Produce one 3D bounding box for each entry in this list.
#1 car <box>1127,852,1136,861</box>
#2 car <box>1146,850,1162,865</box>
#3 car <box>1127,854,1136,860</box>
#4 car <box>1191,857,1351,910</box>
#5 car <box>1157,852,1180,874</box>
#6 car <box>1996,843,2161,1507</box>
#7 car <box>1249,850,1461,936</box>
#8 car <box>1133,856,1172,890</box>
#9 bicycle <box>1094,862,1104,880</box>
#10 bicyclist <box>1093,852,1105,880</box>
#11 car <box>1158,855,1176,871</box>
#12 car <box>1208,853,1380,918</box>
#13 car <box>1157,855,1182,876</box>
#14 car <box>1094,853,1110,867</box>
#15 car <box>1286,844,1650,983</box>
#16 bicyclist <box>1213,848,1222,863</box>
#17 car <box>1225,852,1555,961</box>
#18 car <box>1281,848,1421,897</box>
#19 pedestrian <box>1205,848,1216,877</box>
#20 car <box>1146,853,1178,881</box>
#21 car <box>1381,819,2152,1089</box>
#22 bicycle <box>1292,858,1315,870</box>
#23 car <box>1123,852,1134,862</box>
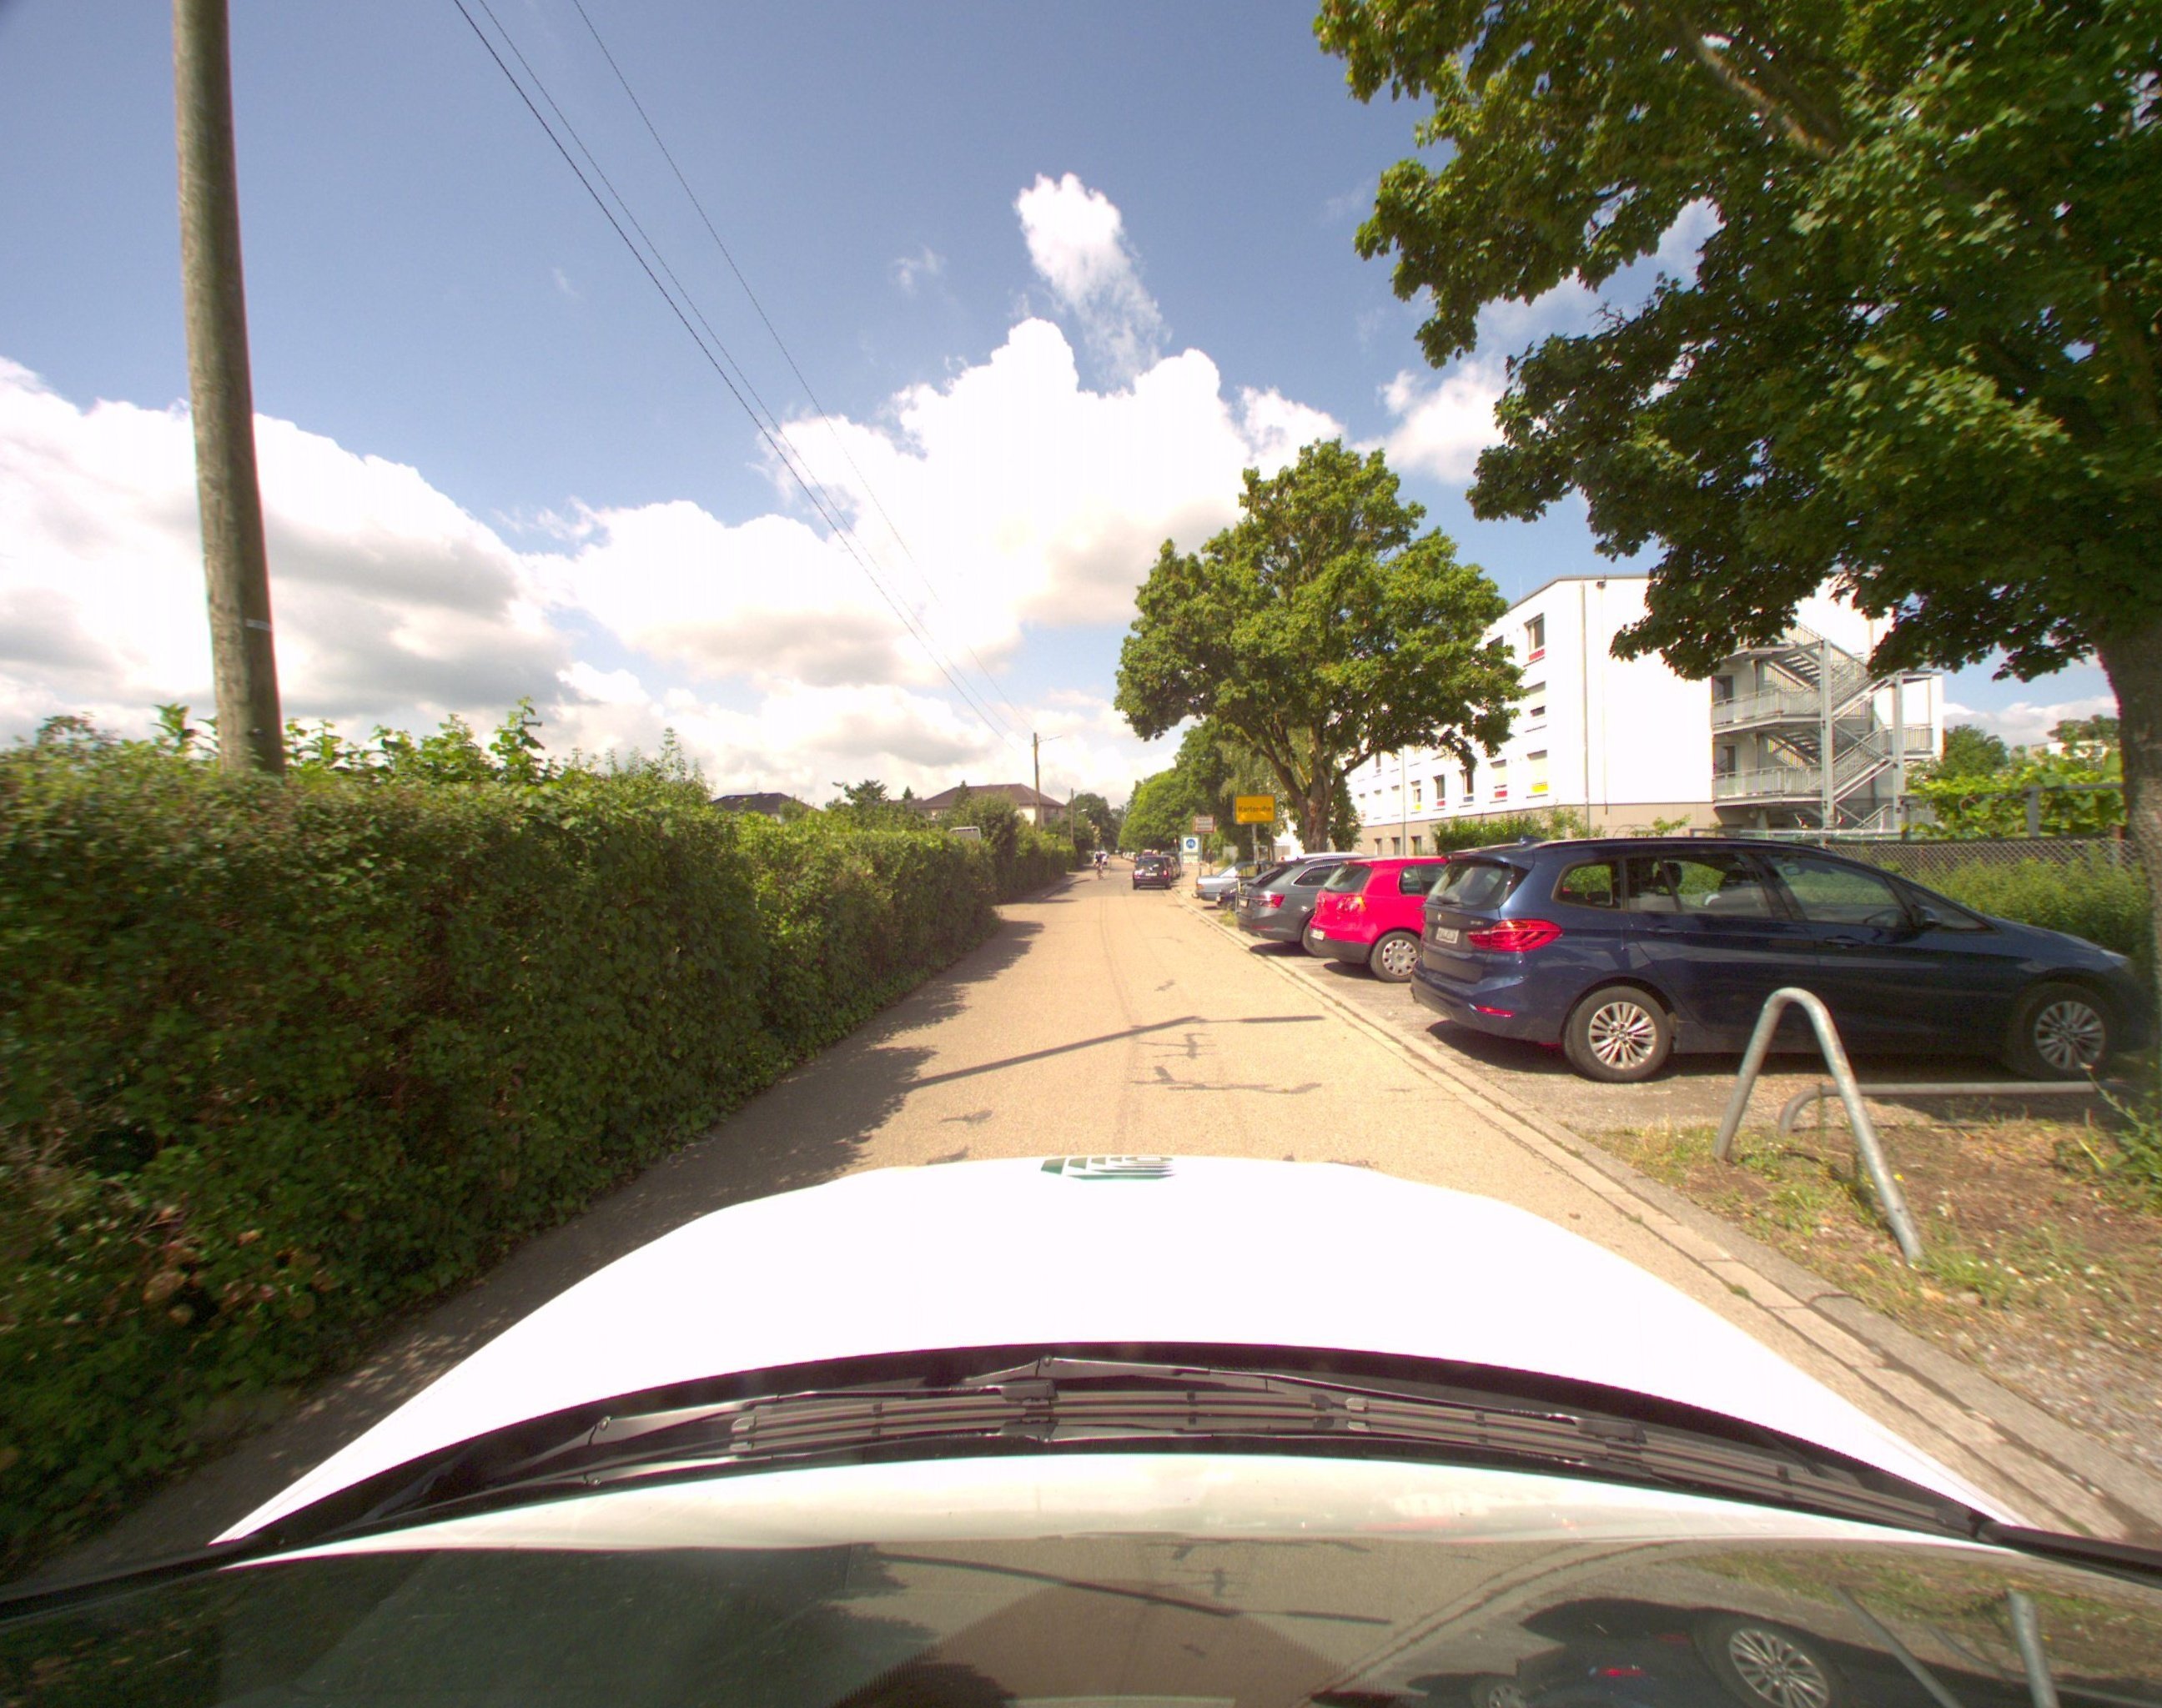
[{"bbox_3d":[11.455,0.613,185.442,1.986,2.014,4.001,0,0,2],"label":"car"},{"bbox_3d":[9.489,0.463,106.226,2.048,1.926,4.546,0,0,5],"label":"car"},{"bbox_3d":[12.451,0.757,200.255,1.842,1.618,4.007,0,0,7],"label":"car"},{"bbox_3d":[5.458,0.845,23.808,4.337,1.392,1.721,-2,-1,6],"label":"car"},{"bbox_3d":[7.251,0.742,67.159,1.864,1.806,3.439,0,0,7],"label":"car"},{"bbox_3d":[4.573,0.727,1.154,4.320,1.492,1.976,0,-1,1],"label":"car"},{"bbox_3d":[5.212,0.725,15.779,3.563,1.549,1.666,0,-1,-2],"label":"car"},{"bbox_3d":[3.374,0.855,37.793,1.654,1.506,4.008,0,0,7],"label":"car"},{"bbox_3d":[1.245,1.130,54.821,0.515,1.150,1.829,-2,0,4],"label":"bicycle"},{"bbox_3d":[1.237,0.777,54.816,0.656,1.852,1.044,-2,-1,4],"label":"bicyclist"},{"bbox_3d":[8.459,0.905,80.427,1.671,1.519,4.005,0,0,5],"label":"car"},{"bbox_3d":[5.324,0.763,20.701,3.920,1.559,1.868,0,-1,0],"label":"car"},{"bbox_3d":[6.452,0.836,59.831,1.656,1.435,3.544,0,0,3],"label":"car"},{"bbox_3d":[2.789,0.789,106.194,1.894,1.814,4.005,0,0,5],"label":"car"},{"bbox_3d":[4.733,0.701,10.391,3.795,1.532,1.763,-2,-1,2],"label":"car"},{"bbox_3d":[15.660,0.164,93.533,0.777,1.785,0.900,0,-1,34],"label":"bicyclist"},{"bbox_3d":[4.675,0.774,12.803,4.533,1.578,1.809,0,-1,0],"label":"car"},{"bbox_3d":[9.296,0.626,28.266,4.225,1.430,1.759,-3,-1,1],"label":"car"},{"bbox_3d":[8.054,0.524,50.572,0.606,1.745,0.725,0,-1,15],"label":"pedestrian"},{"bbox_3d":[4.861,0.759,48.720,1.653,1.552,3.646,0,0,9],"label":"car"},{"bbox_3d":[4.669,0.657,6.136,4.137,1.637,1.880,-2,-1,3],"label":"car"},{"bbox_3d":[21.700,0.971,79.391,2.078,1.119,0.626,-2,-1,6],"label":"bicycle"},{"bbox_3d":[9.042,0.614,155.668,2.048,1.962,4.546,0,0,5],"label":"car"}]
